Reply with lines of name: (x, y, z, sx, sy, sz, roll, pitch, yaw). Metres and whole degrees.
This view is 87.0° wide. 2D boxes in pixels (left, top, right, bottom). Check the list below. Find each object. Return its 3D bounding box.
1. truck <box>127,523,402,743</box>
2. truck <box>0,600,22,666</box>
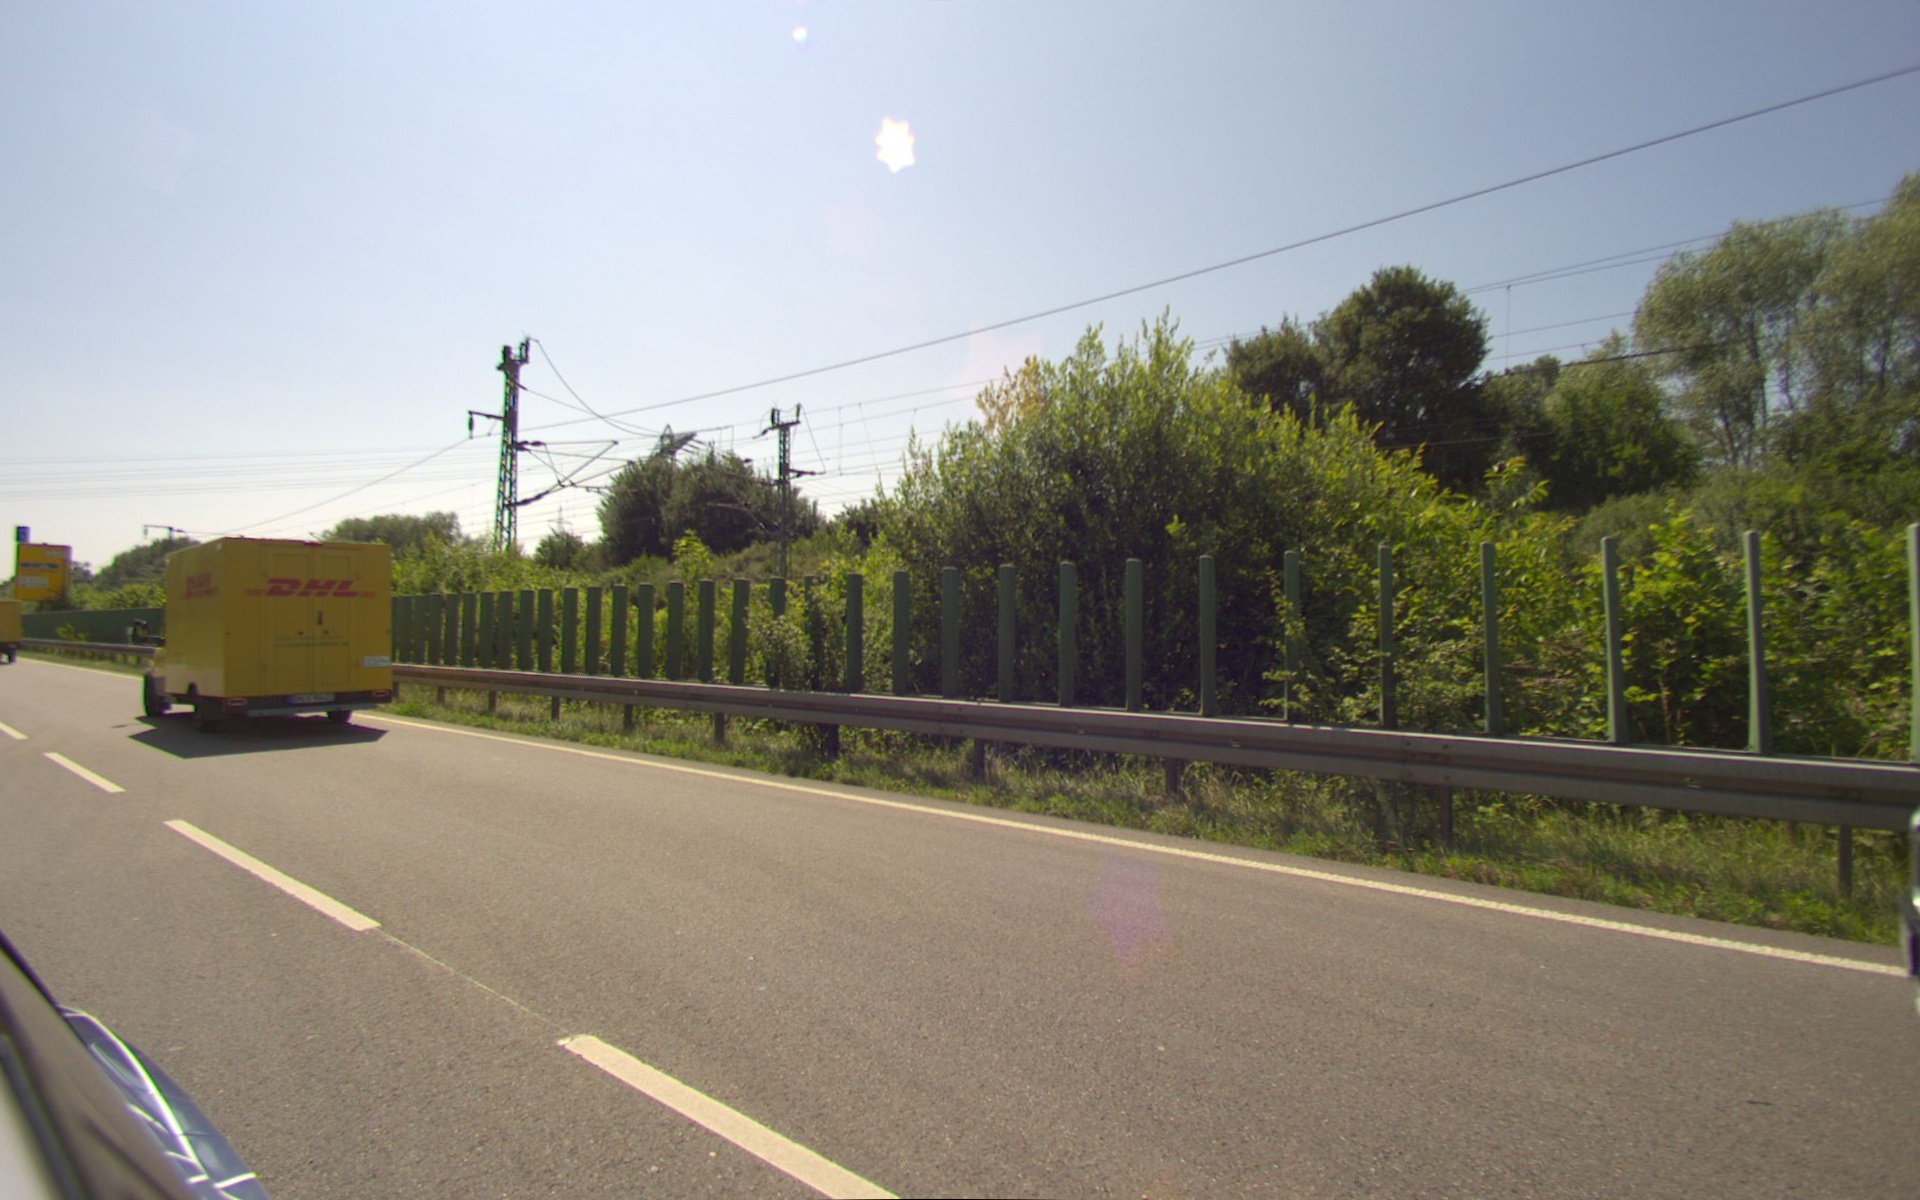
truck: (-10.424, 0.465, 14.948, 5.702, 2.667, 2.058, -2, -1, 42)
truck: (-37.105, 1.243, 38.138, 6.009, 2.366, 1.972, -2, -2, 42)
